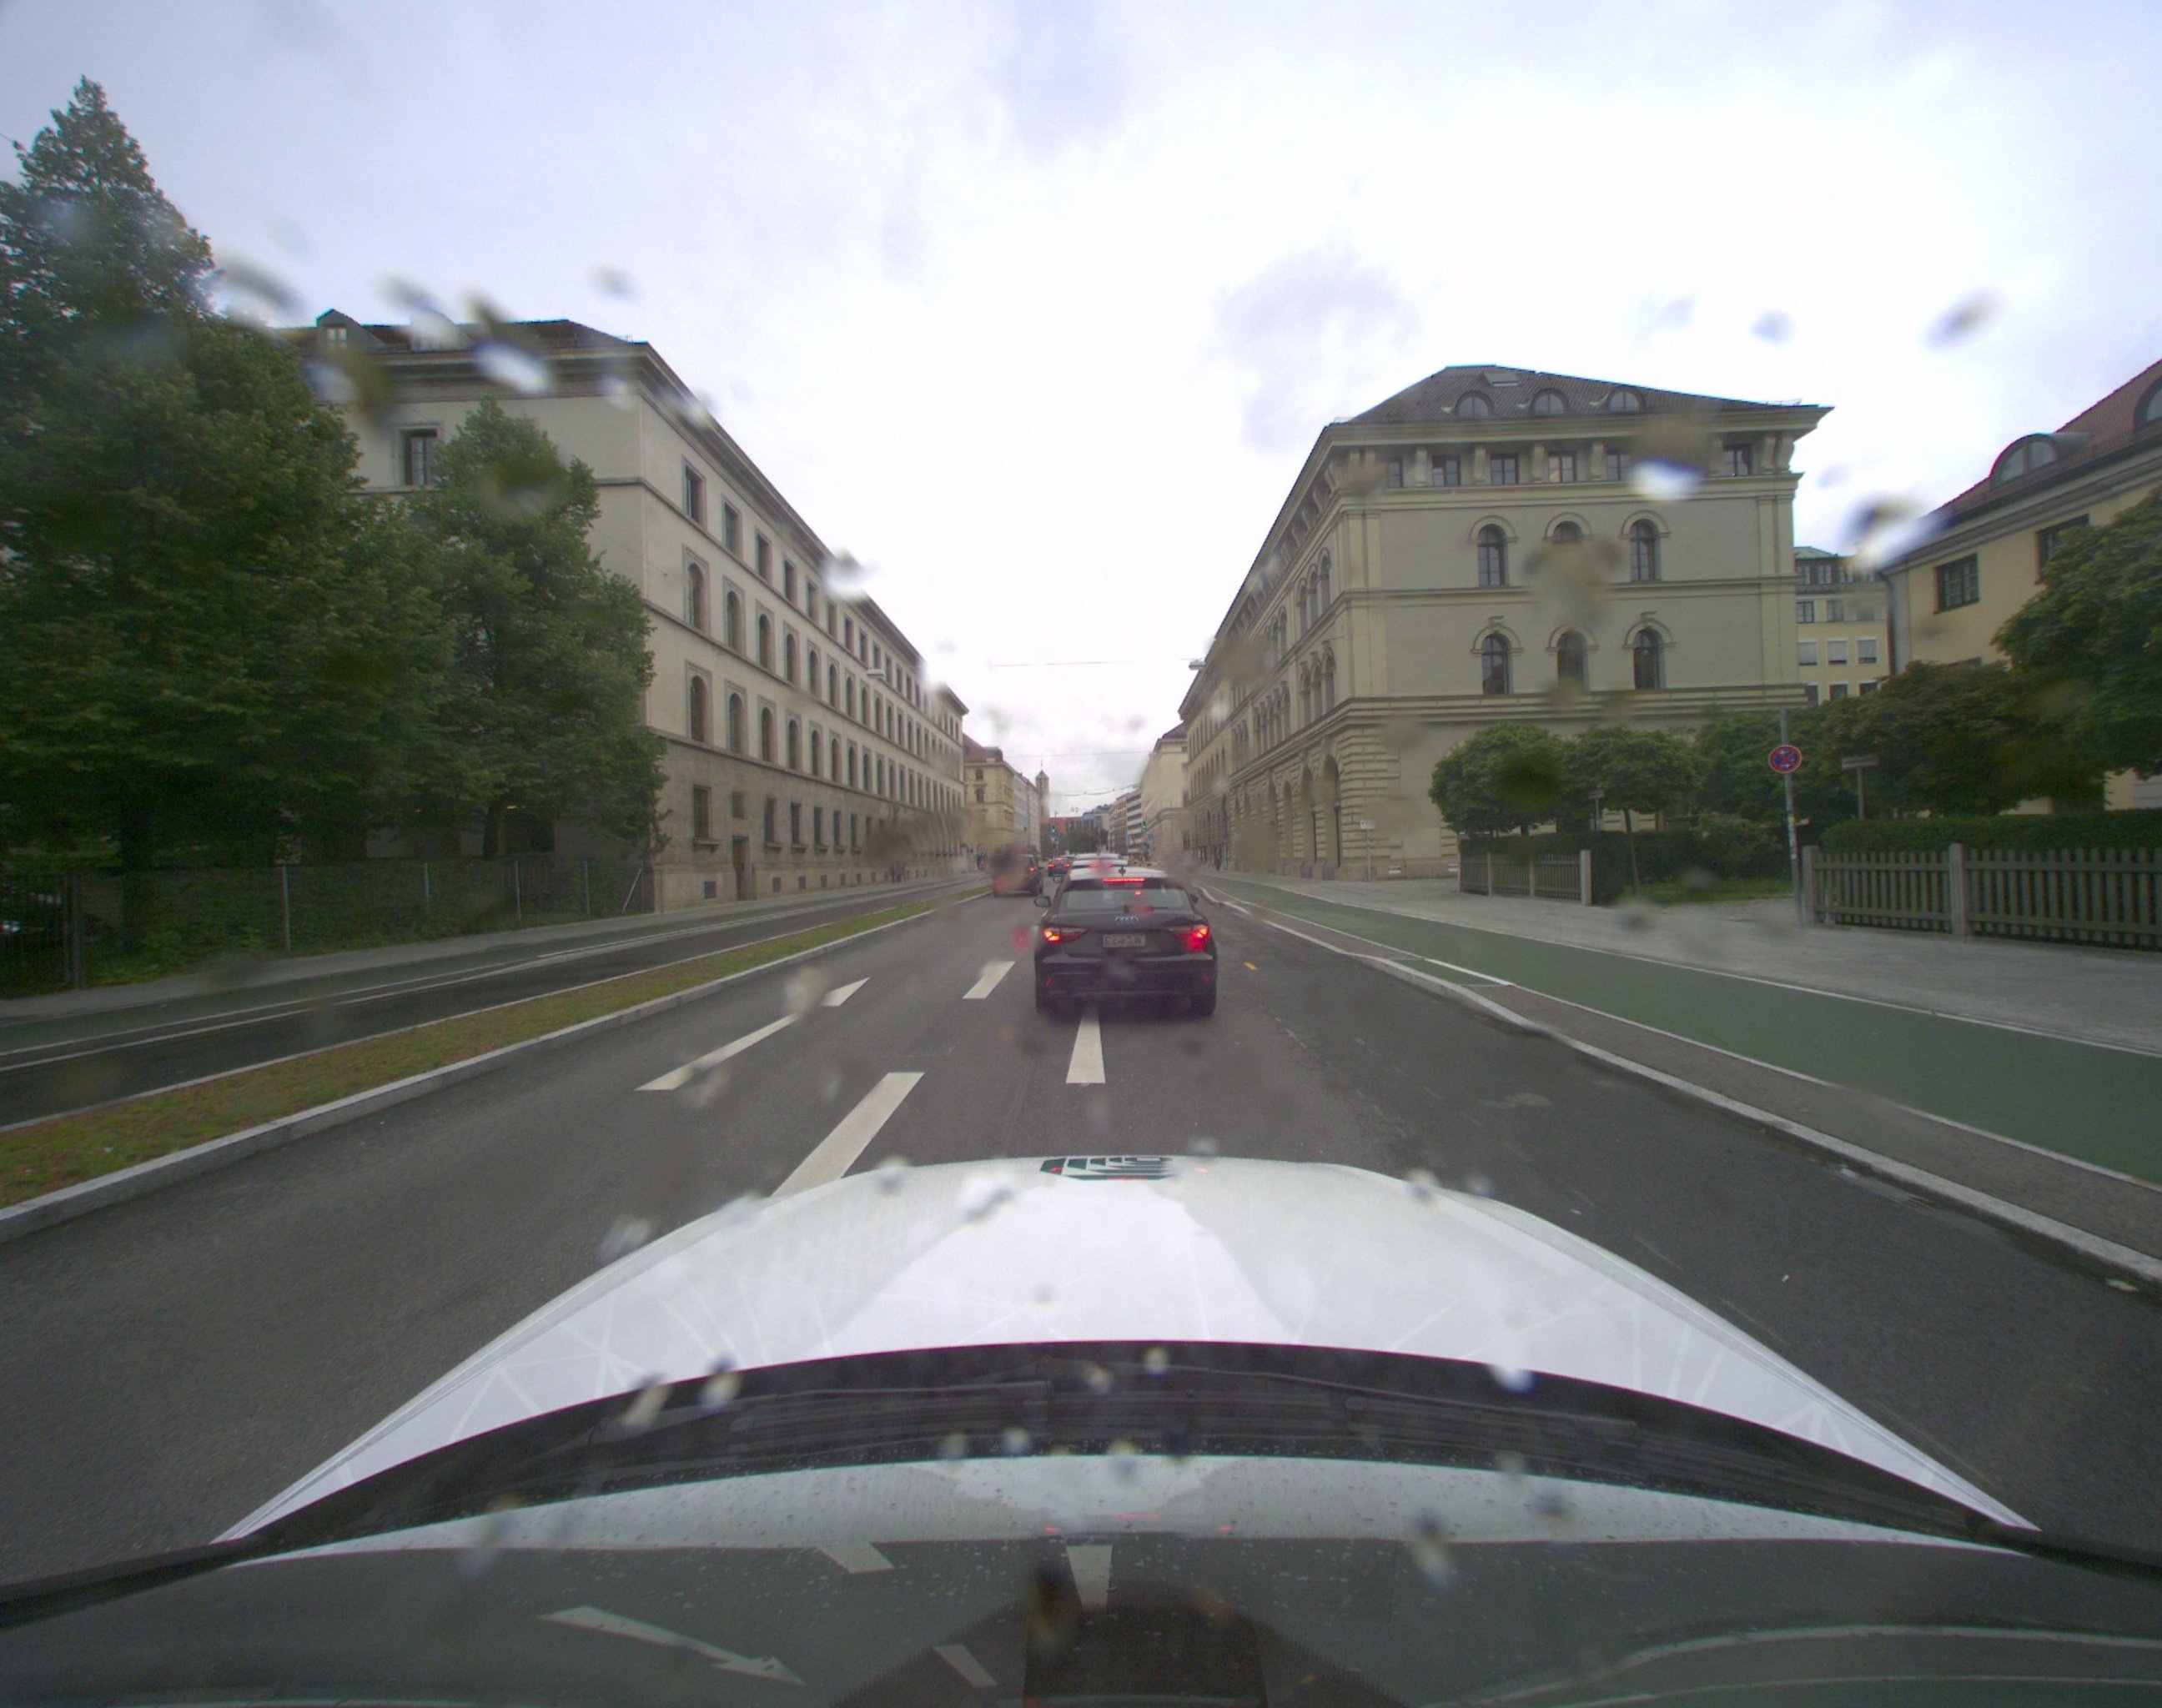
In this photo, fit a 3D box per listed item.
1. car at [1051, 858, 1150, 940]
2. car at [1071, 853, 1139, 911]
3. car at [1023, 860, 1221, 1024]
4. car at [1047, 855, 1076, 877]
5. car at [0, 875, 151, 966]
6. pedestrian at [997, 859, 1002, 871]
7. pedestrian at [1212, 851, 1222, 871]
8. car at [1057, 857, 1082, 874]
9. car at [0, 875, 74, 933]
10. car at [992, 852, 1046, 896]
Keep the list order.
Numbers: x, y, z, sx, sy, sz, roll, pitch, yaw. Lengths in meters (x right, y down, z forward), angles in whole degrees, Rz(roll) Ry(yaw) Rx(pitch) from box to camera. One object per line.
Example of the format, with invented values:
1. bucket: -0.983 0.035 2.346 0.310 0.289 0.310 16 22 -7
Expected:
1. car: 0.395 0.799 16.224 1.724 1.403 4.001 0 0 1
2. car: 0.664 0.700 22.617 1.724 1.461 4.001 0 0 1
3. car: 0.410 0.785 9.133 1.724 1.403 4.001 0 0 1
4. car: -1.504 0.905 63.242 1.986 1.627 4.002 -2 0 2
5. car: -21.843 1.349 16.352 4.247 1.649 1.805 -2 0 1
6. pedestrian: -12.789 1.705 127.200 0.653 1.805 0.727 -2 0 1
7. pedestrian: 11.032 0.567 66.061 0.707 1.618 0.754 -2 0 1
8. car: -1.004 0.990 72.488 1.986 1.444 4.002 -2 0 2
9. car: -31.843 1.479 23.034 1.659 1.640 4.001 -1 0 1
10. car: -2.402 0.759 32.426 1.758 1.616 4.031 -1 0 1
